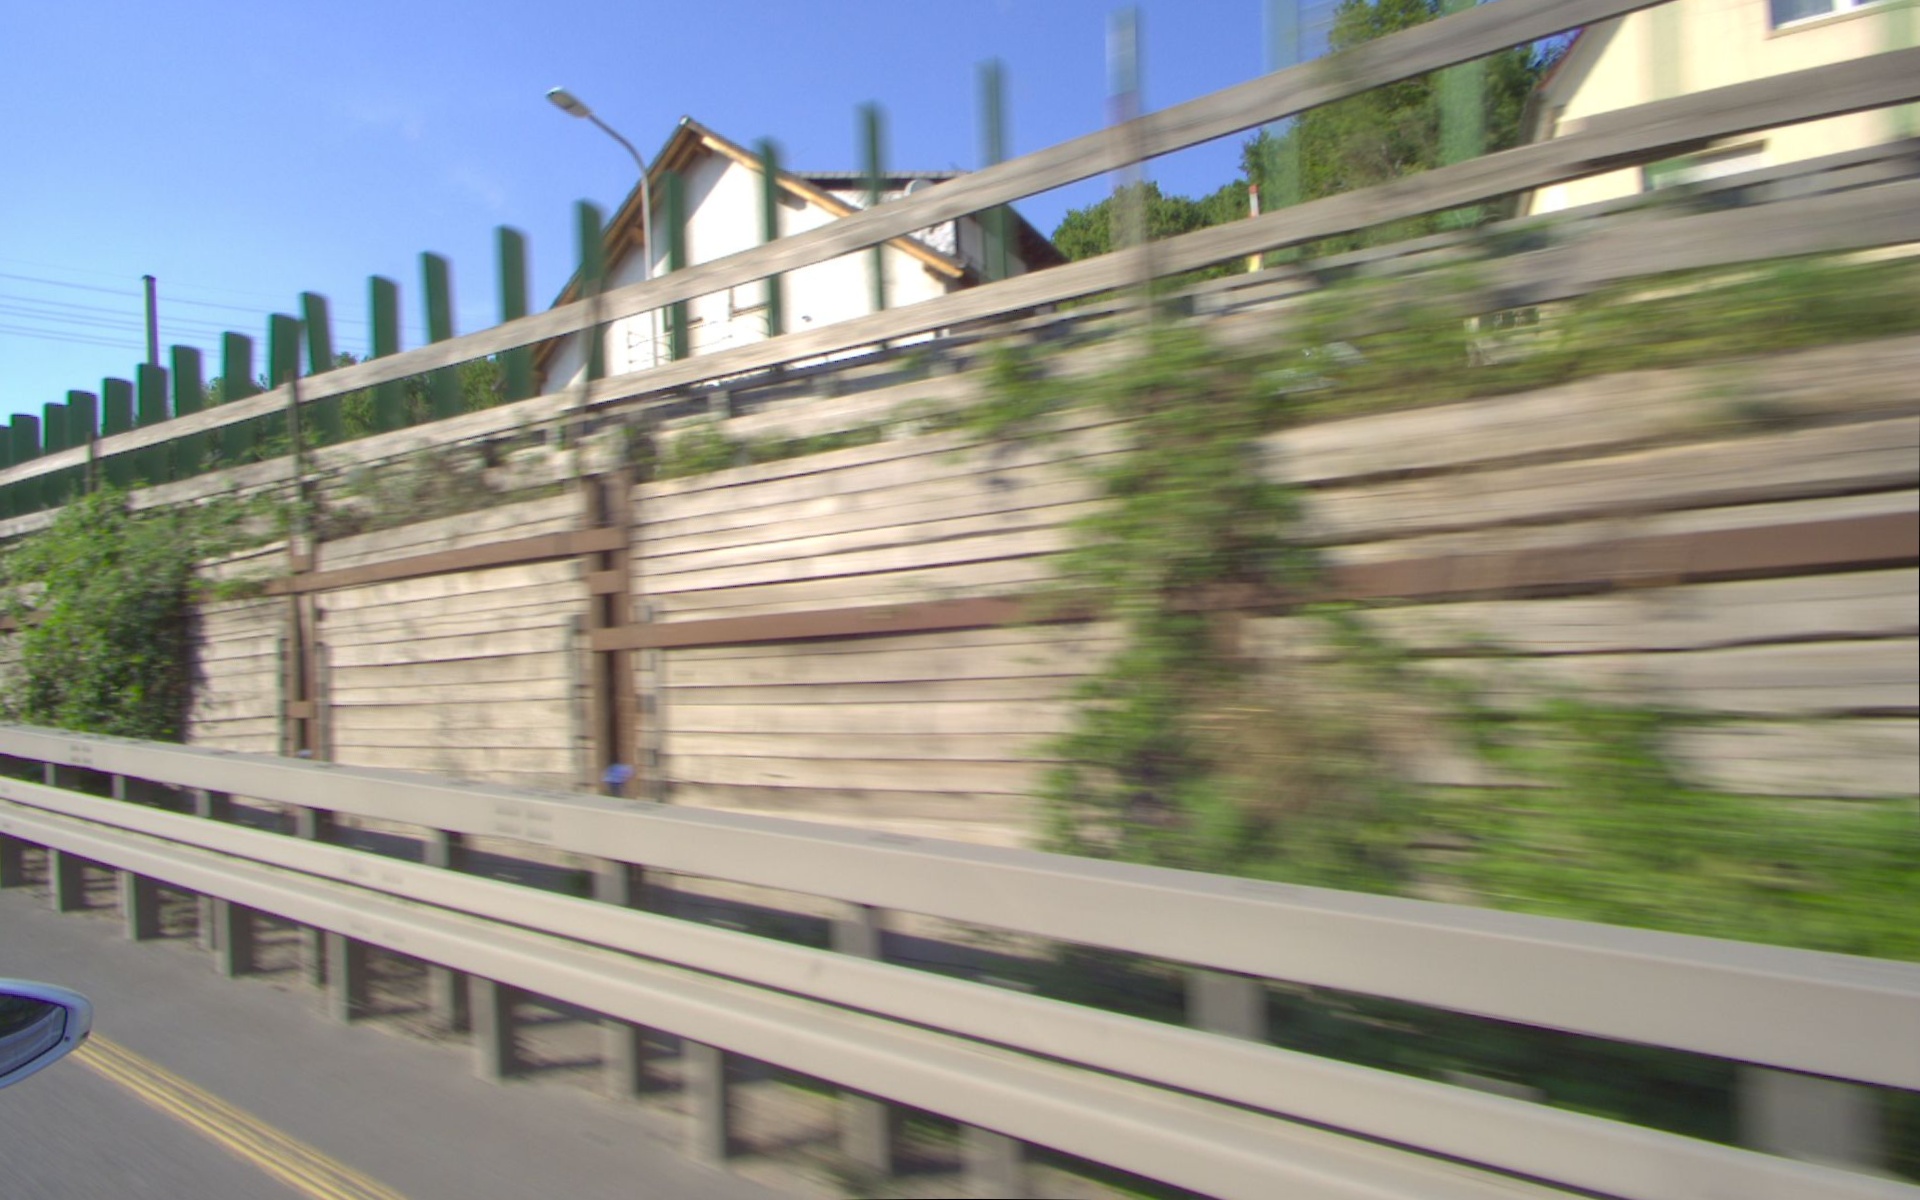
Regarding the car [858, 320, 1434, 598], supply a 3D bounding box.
[{"bbox_3d":[1.540,-0.987,8.708,4.574,1.679,1.698,-3,-2,25],"label":"car"}]
